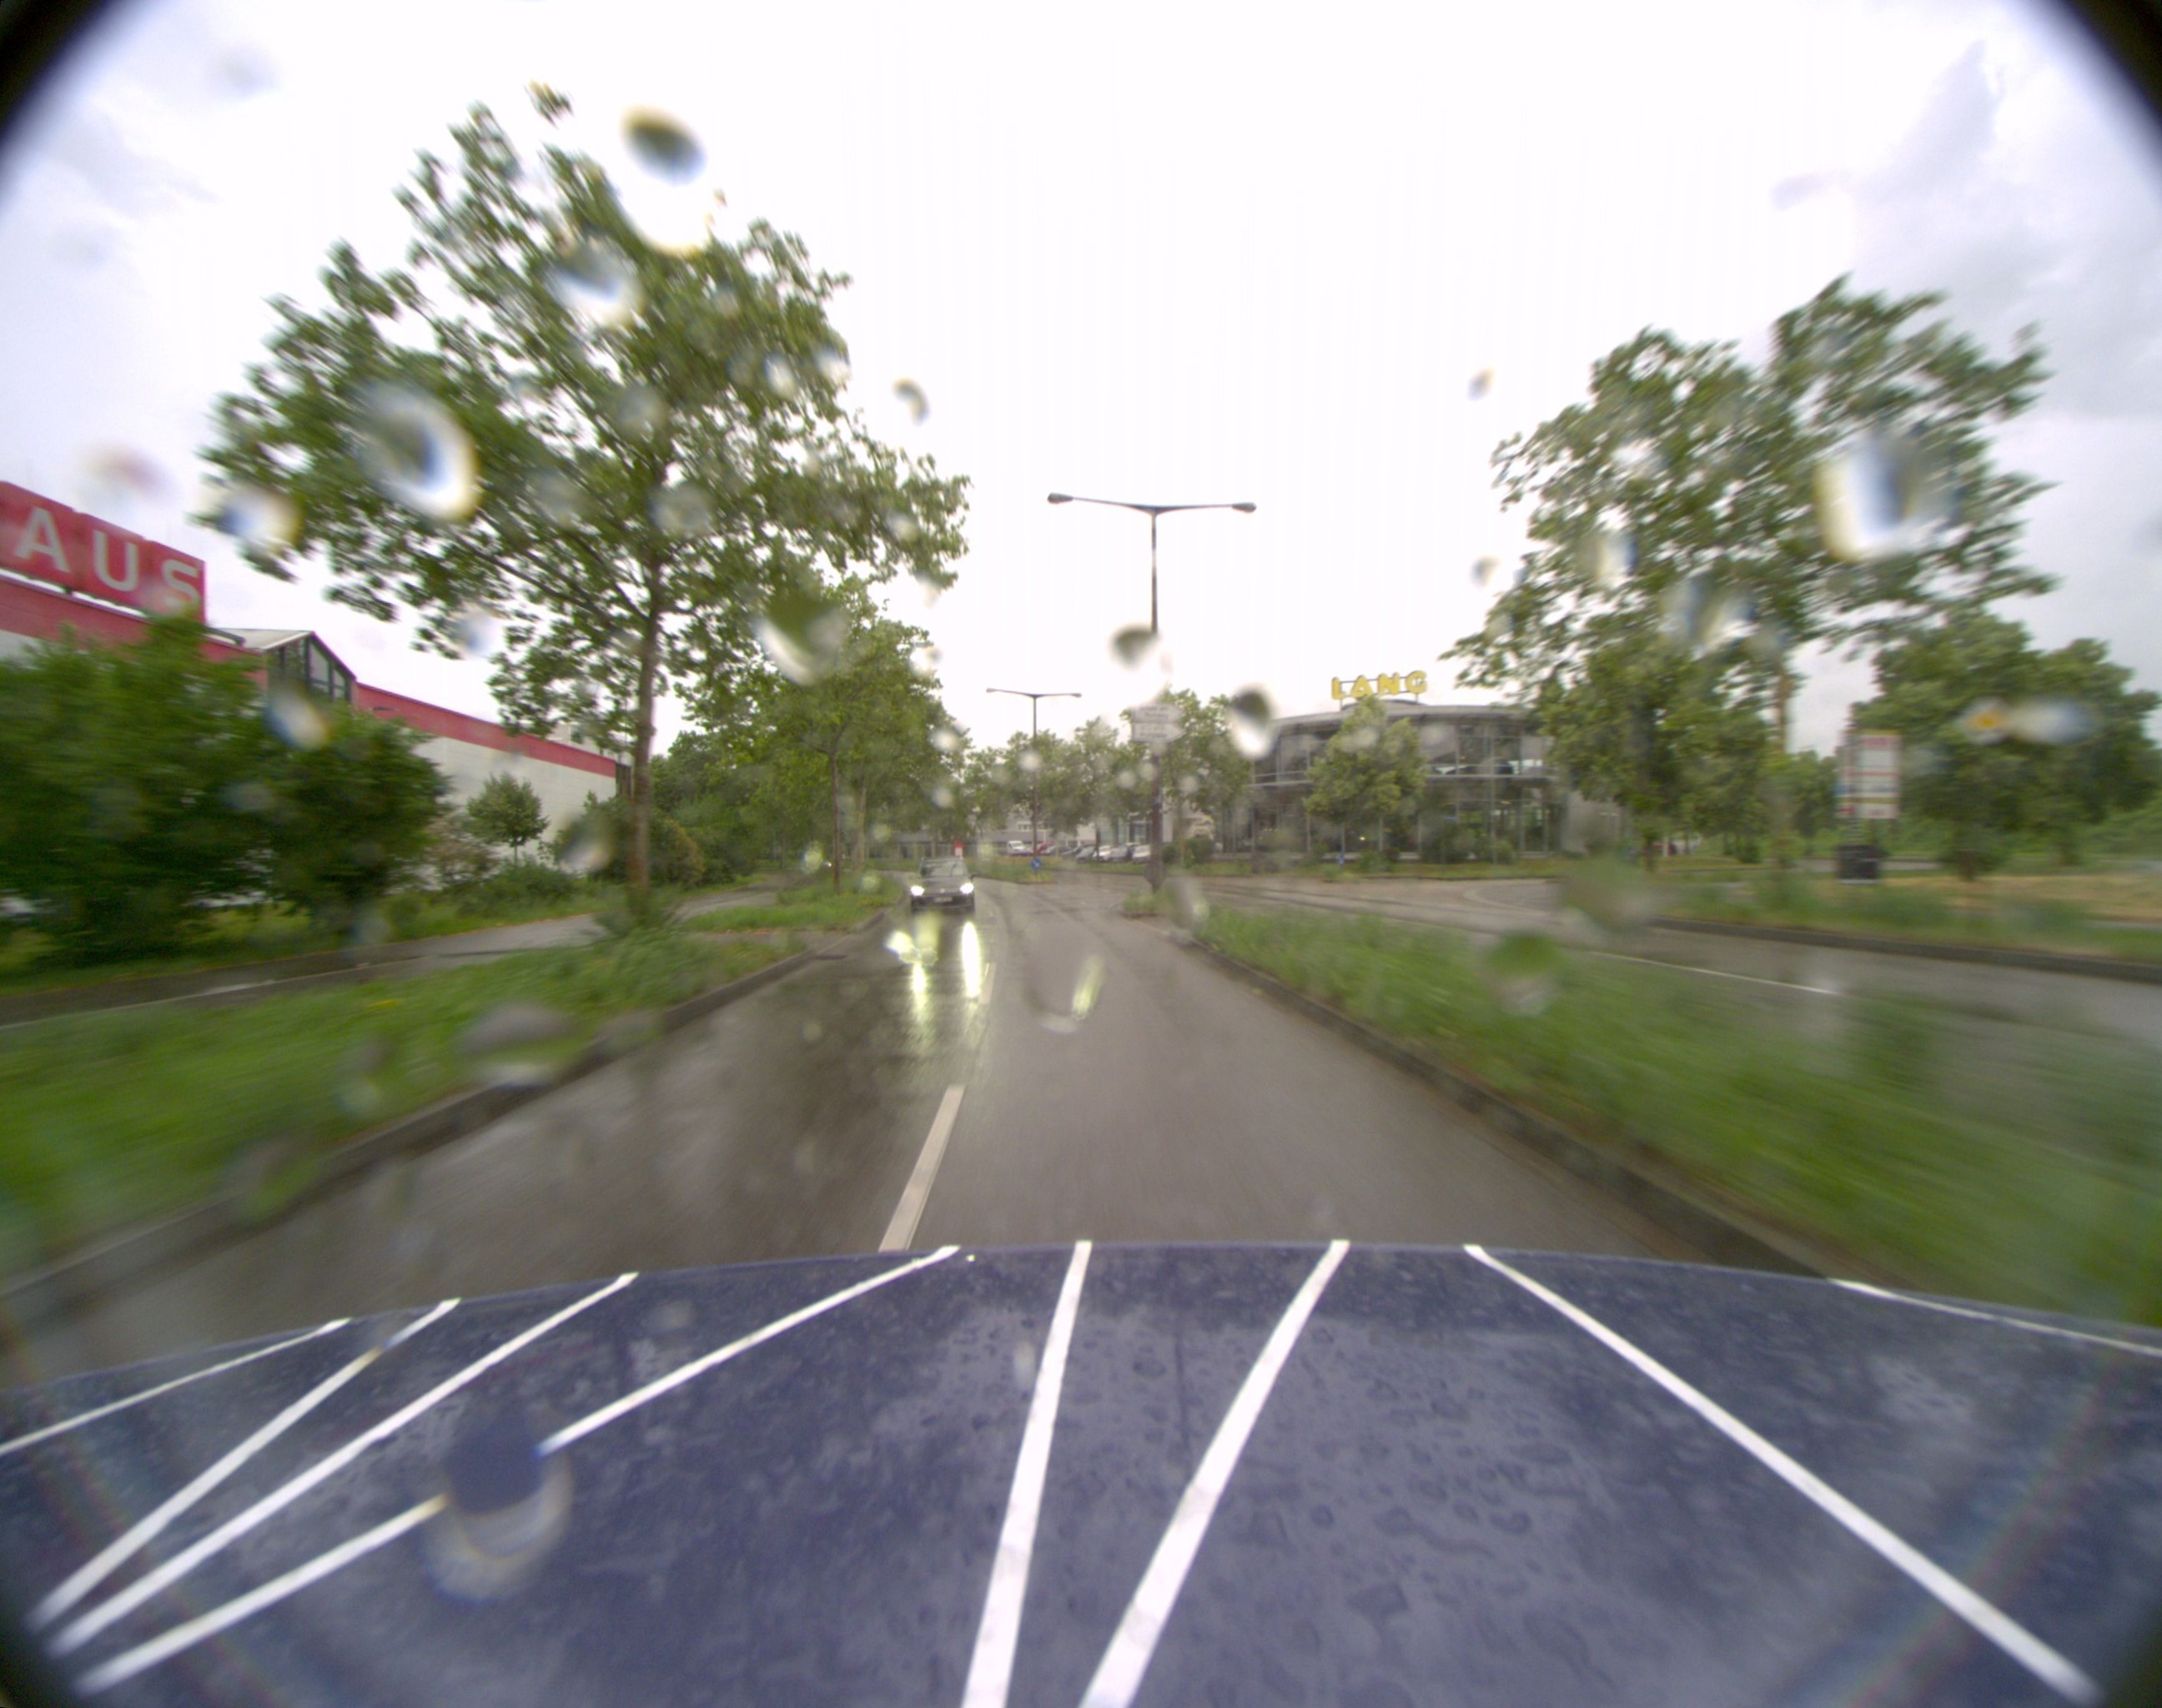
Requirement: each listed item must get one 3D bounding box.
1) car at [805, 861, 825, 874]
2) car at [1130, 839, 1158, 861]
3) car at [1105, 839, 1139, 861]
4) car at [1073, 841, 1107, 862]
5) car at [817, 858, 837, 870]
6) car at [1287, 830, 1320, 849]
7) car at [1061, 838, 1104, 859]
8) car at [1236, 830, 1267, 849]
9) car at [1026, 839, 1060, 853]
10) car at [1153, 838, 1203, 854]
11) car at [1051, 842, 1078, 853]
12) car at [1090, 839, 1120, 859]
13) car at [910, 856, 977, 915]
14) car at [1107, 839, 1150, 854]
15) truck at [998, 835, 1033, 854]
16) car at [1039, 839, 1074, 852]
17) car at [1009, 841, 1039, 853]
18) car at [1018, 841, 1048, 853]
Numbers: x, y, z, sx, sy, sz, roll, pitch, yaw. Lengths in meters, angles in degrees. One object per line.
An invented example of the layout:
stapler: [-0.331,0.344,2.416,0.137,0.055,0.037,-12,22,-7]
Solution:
car: [-33.681,1.650,96.242,1.788,1.547,3.991,-2,1,-28]
car: [5.702,-0.411,68.826,1.782,1.468,4.000,-7,4,14]
car: [3.932,-0.408,72.558,1.844,1.415,4.132,-7,4,22]
car: [0.957,-0.278,79.156,1.843,1.471,4.132,-6,4,26]
car: [-34.484,1.369,103.066,1.788,1.547,3.990,-2,1,-30]
car: [18.167,-1.203,62.271,1.783,1.467,4.113,-1,1,4]
car: [0.164,-0.582,83.174,4.432,1.549,1.846,-8,4,1]
car: [13.646,-1.142,60.987,1.783,1.467,4.113,-1,1,4]
car: [-4.971,-1.091,99.563,4.014,1.548,1.843,-5,2,-33]
car: [9.418,-0.784,74.062,4.435,1.465,1.918,-2,1,-7]
car: [-2.425,-0.972,113.130,1.771,1.389,4.146,-4,1,-39]
car: [2.452,-0.516,76.623,1.844,1.471,4.131,-7,4,19]
car: [-4.045,0.848,22.722,1.785,1.546,3.996,-1,1,-8]
car: [5.110,-0.855,81.467,4.443,1.465,1.915,-2,1,-35]
truck: [-9.325,-1.288,107.961,2.257,2.331,6.180,-5,2,-32]
car: [-3.129,-1.048,97.406,4.014,1.350,1.843,-5,2,-33]
car: [-7.778,-0.931,103.708,3.539,1.319,1.764,-5,2,-33]
car: [-6.425,-0.887,101.619,3.539,1.319,1.764,-5,2,-33]
